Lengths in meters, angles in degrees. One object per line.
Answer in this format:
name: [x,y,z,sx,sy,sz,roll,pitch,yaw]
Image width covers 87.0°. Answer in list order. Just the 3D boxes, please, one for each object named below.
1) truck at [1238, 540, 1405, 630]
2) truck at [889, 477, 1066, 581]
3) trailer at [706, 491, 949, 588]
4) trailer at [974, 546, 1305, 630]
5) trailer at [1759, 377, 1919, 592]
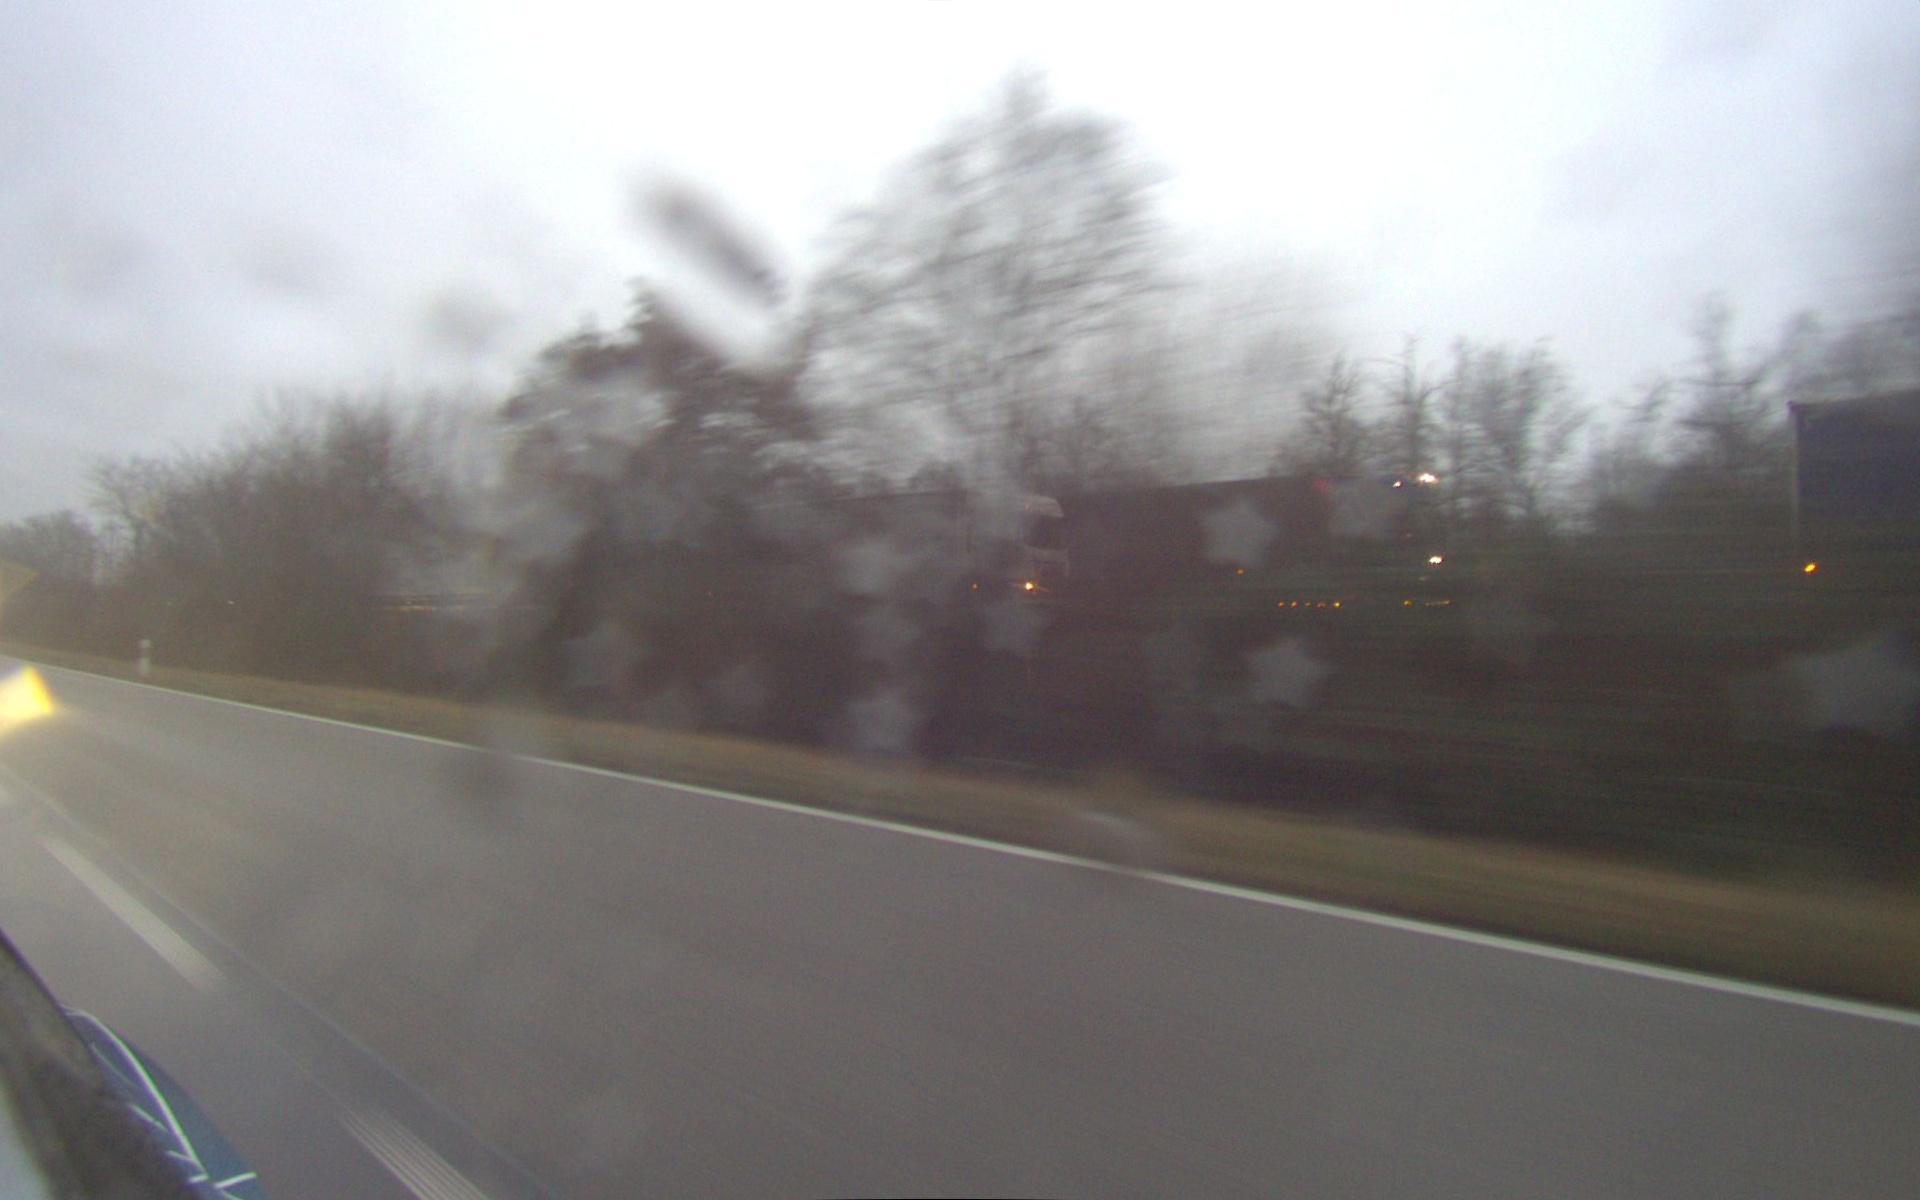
truck: [10.649,-0.349,29.901,3.998,2.454,2.503,-1,-2,41]
truck: [0.489,-2.181,33.132,5.580,2.909,2.424,-1,-2,41]
trailer: [-5.335,-2.055,38.209,11.079,2.913,2.410,-1,-2,41]
trailer: [5.616,-0.228,34.357,11.497,2.443,2.482,-1,-2,41]
trailer: [20.392,-2.118,16.531,11.379,3.661,2.967,-1,-2,41]
